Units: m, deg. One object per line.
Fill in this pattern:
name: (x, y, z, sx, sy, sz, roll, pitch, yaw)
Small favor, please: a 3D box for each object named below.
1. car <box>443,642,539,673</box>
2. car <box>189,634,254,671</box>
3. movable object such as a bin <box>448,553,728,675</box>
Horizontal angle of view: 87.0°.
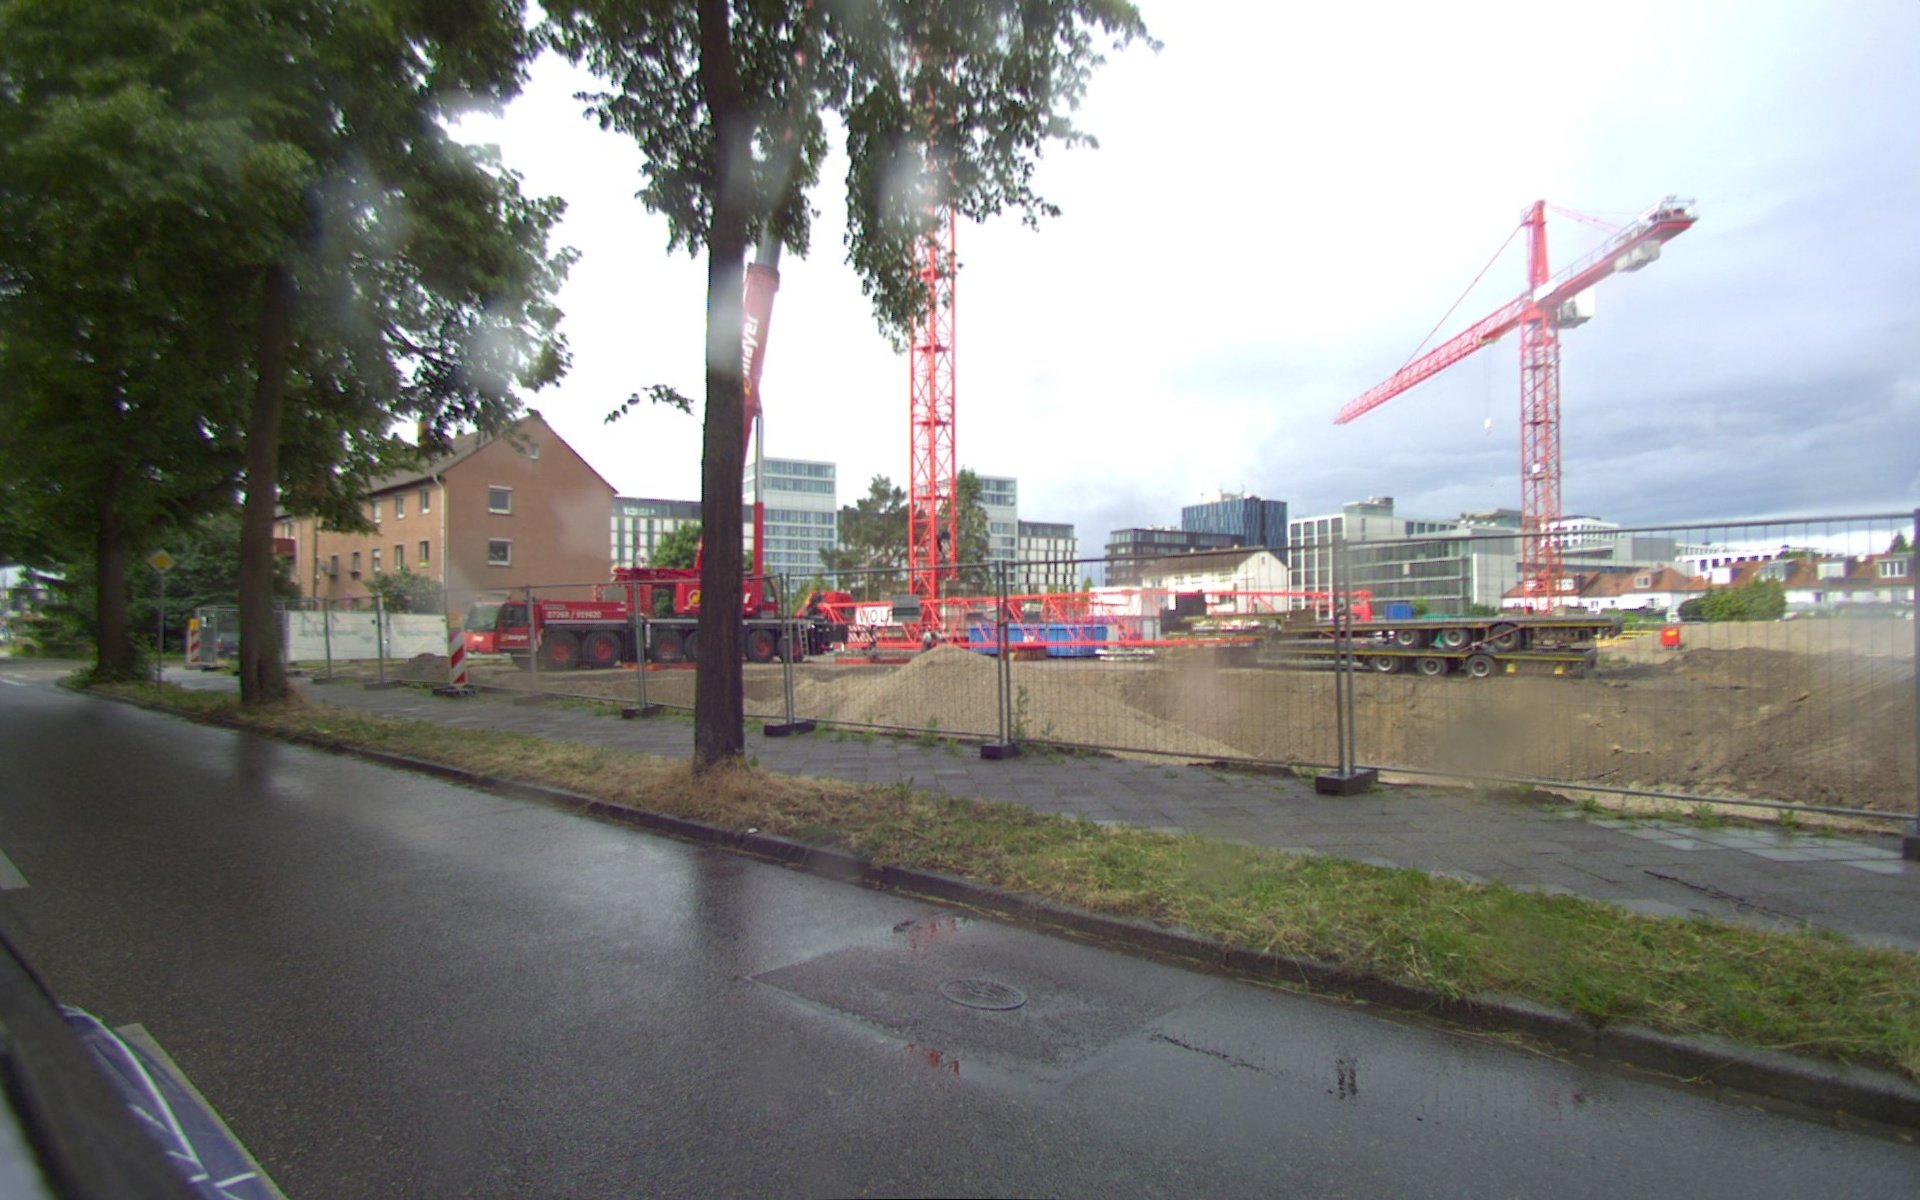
car: (-22.750, 2.756, 49.209, 1.721, 1.424, 4.026, -1, -2, 29)
car: (-33.116, 2.318, 45.328, 3.869, 1.431, 1.607, 0, 0, 42)
movable object such as a bin: (-14.062, 0.596, 39.155, 3.366, 4.147, 9.704, -3, -3, 43)
